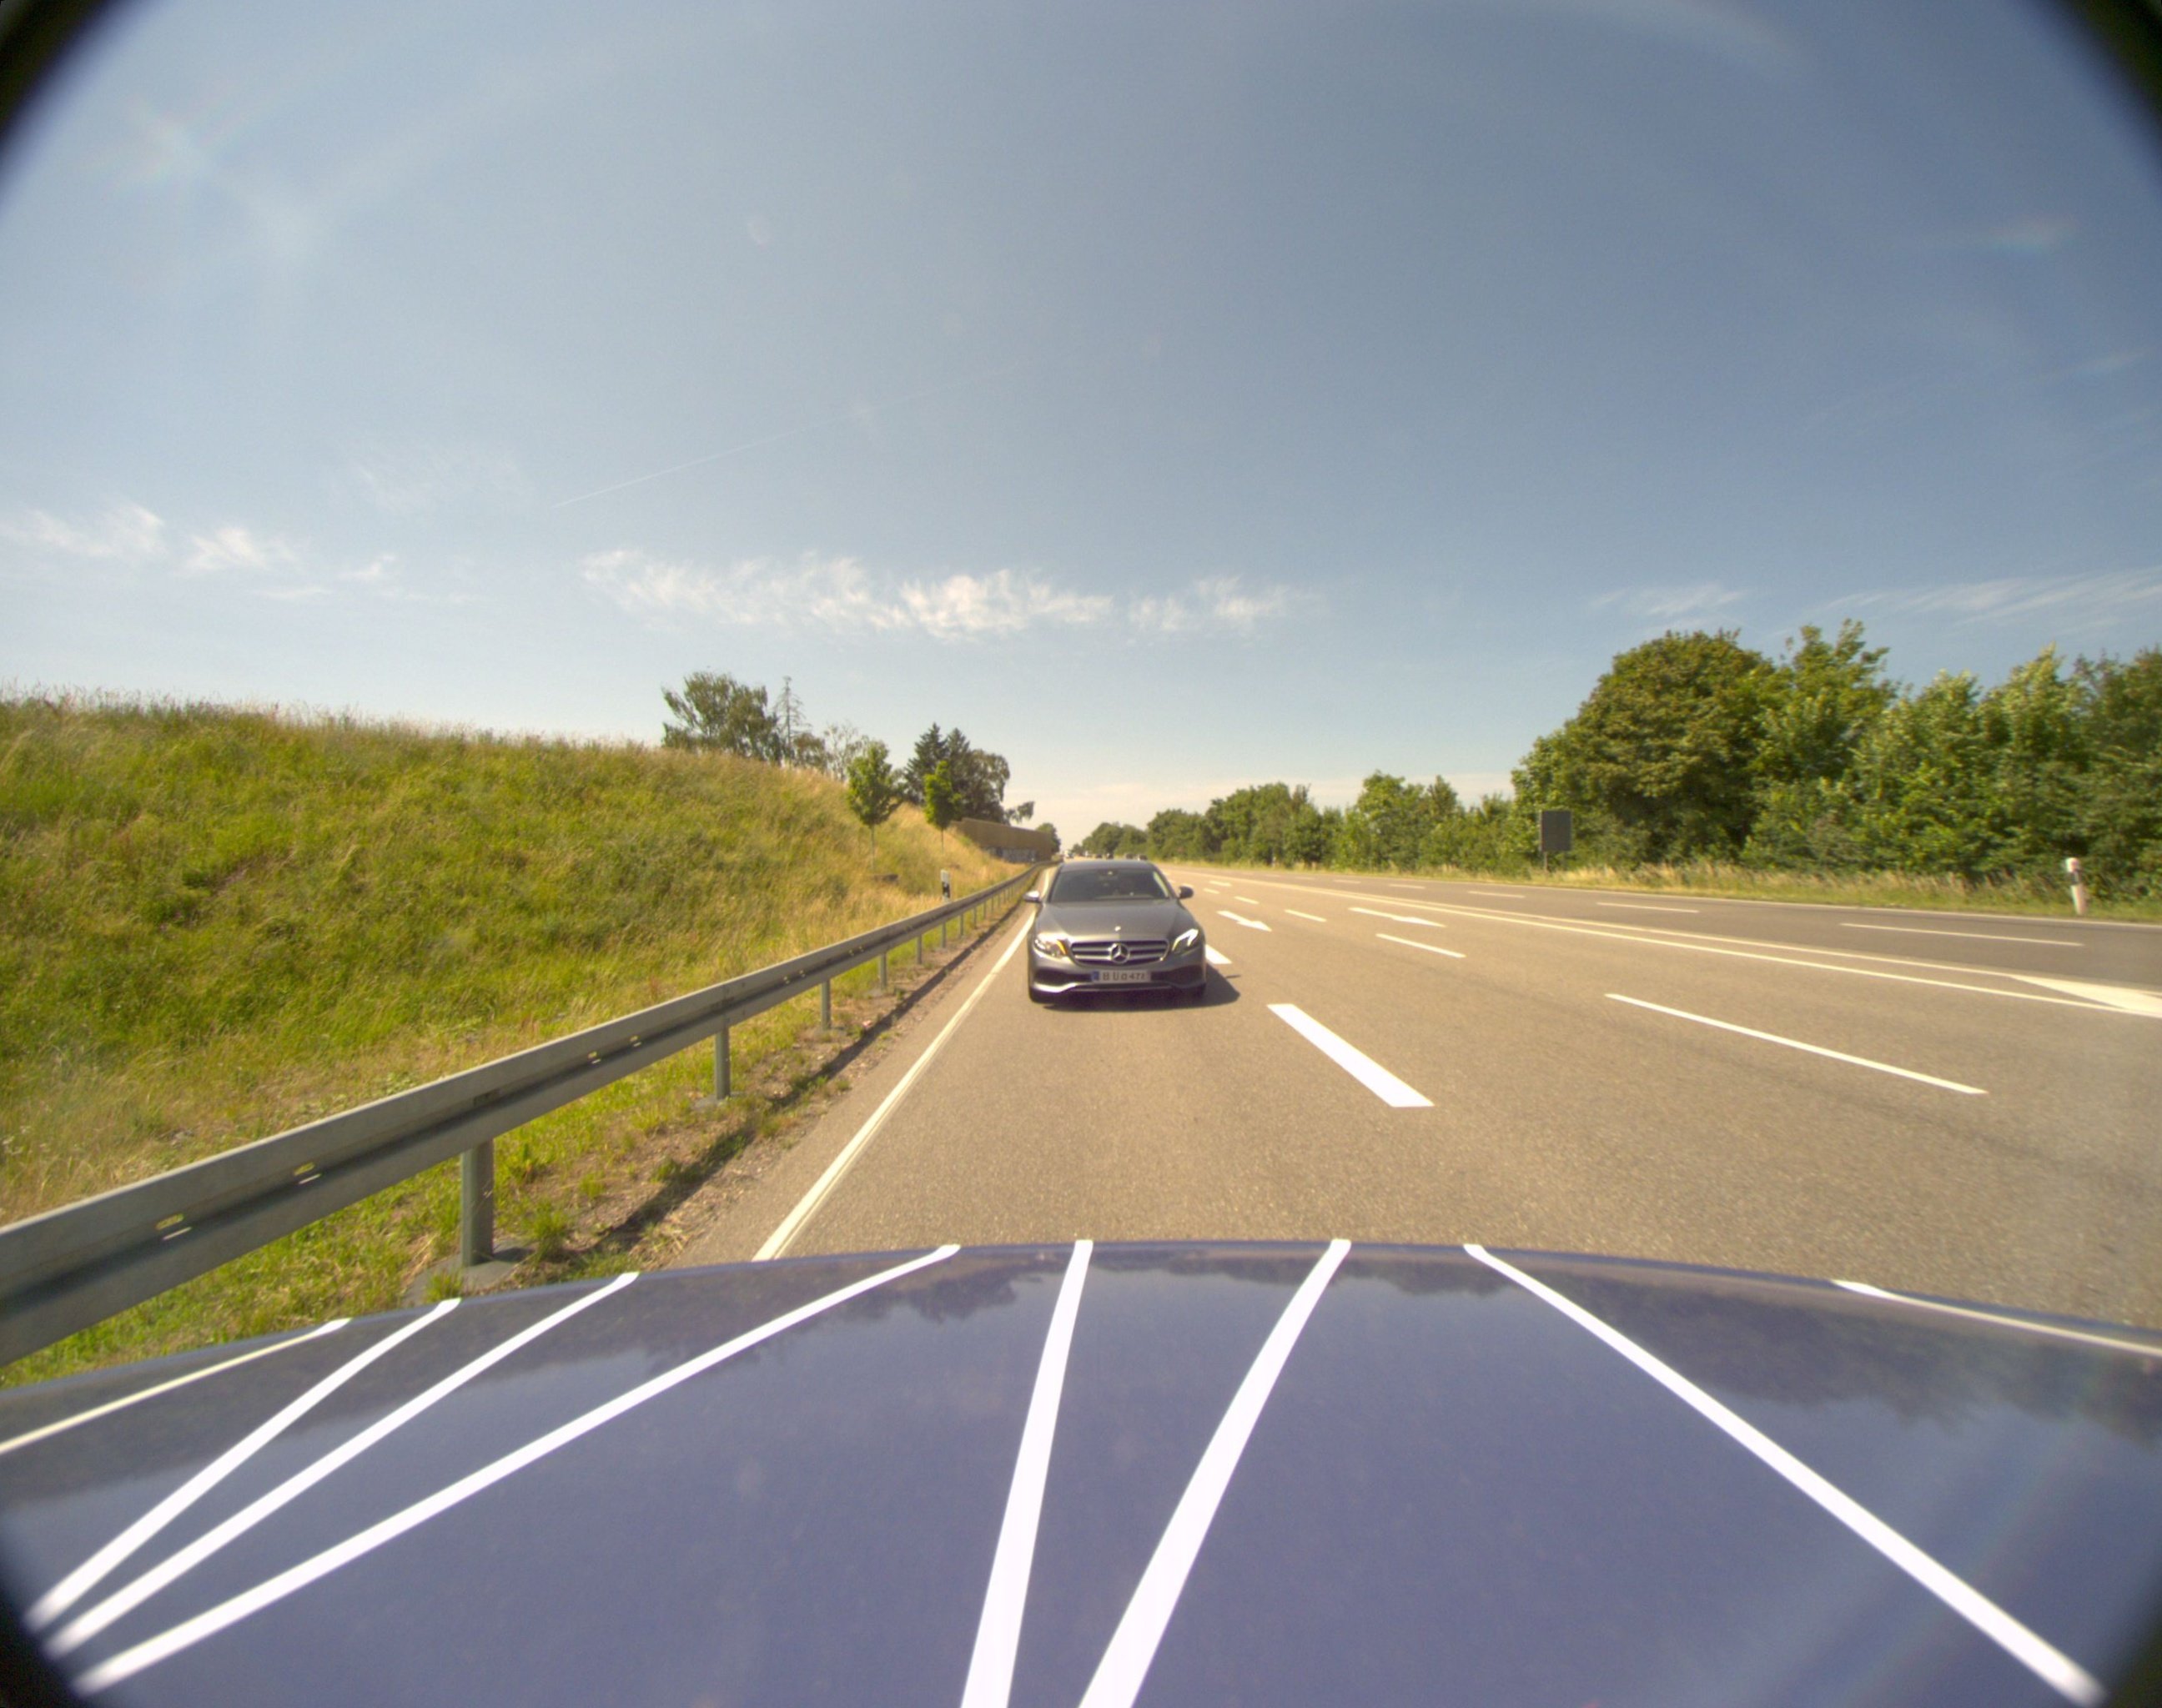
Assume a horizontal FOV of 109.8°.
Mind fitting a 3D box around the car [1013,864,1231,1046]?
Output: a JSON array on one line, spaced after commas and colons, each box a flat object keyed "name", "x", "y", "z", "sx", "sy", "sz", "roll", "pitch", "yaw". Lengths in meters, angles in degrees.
[{"name": "car", "x": 0.271, "y": 0.916, "z": 8.948, "sx": 1.894, "sy": 1.439, "sz": 4.524, "roll": -2, "pitch": 1, "yaw": -3}]

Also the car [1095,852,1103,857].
[{"name": "car", "x": 5.201, "y": 0.151, "z": 220.012, "sx": 1.810, "sy": 1.272, "sz": 4.764, "roll": -1, "pitch": 1, "yaw": -3}]

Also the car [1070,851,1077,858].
[{"name": "car", "x": -2.065, "y": 0.090, "z": 208.733, "sx": 1.801, "sy": 1.674, "sz": 3.998, "roll": -2, "pitch": 1, "yaw": -1}]

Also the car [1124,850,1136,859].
[{"name": "car", "x": 10.350, "y": 0.092, "z": 160.562, "sx": 2.033, "sy": 1.630, "sz": 4.567, "roll": -1, "pitch": 1, "yaw": -3}]

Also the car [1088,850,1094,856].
[{"name": "car", "x": 3.238, "y": -0.226, "z": 248.080, "sx": 1.910, "sy": 1.906, "sz": 5.050, "roll": 0, "pitch": 0, "yaw": -1}]

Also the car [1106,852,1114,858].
[{"name": "car", "x": 6.913, "y": 0.228, "z": 182.792, "sx": 1.649, "sy": 1.479, "sz": 3.557, "roll": -2, "pitch": 1, "yaw": -3}]

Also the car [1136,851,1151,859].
[{"name": "car", "x": 10.814, "y": 0.177, "z": 131.691, "sx": 1.883, "sy": 1.390, "sz": 4.529, "roll": -2, "pitch": 1, "yaw": -2}]
